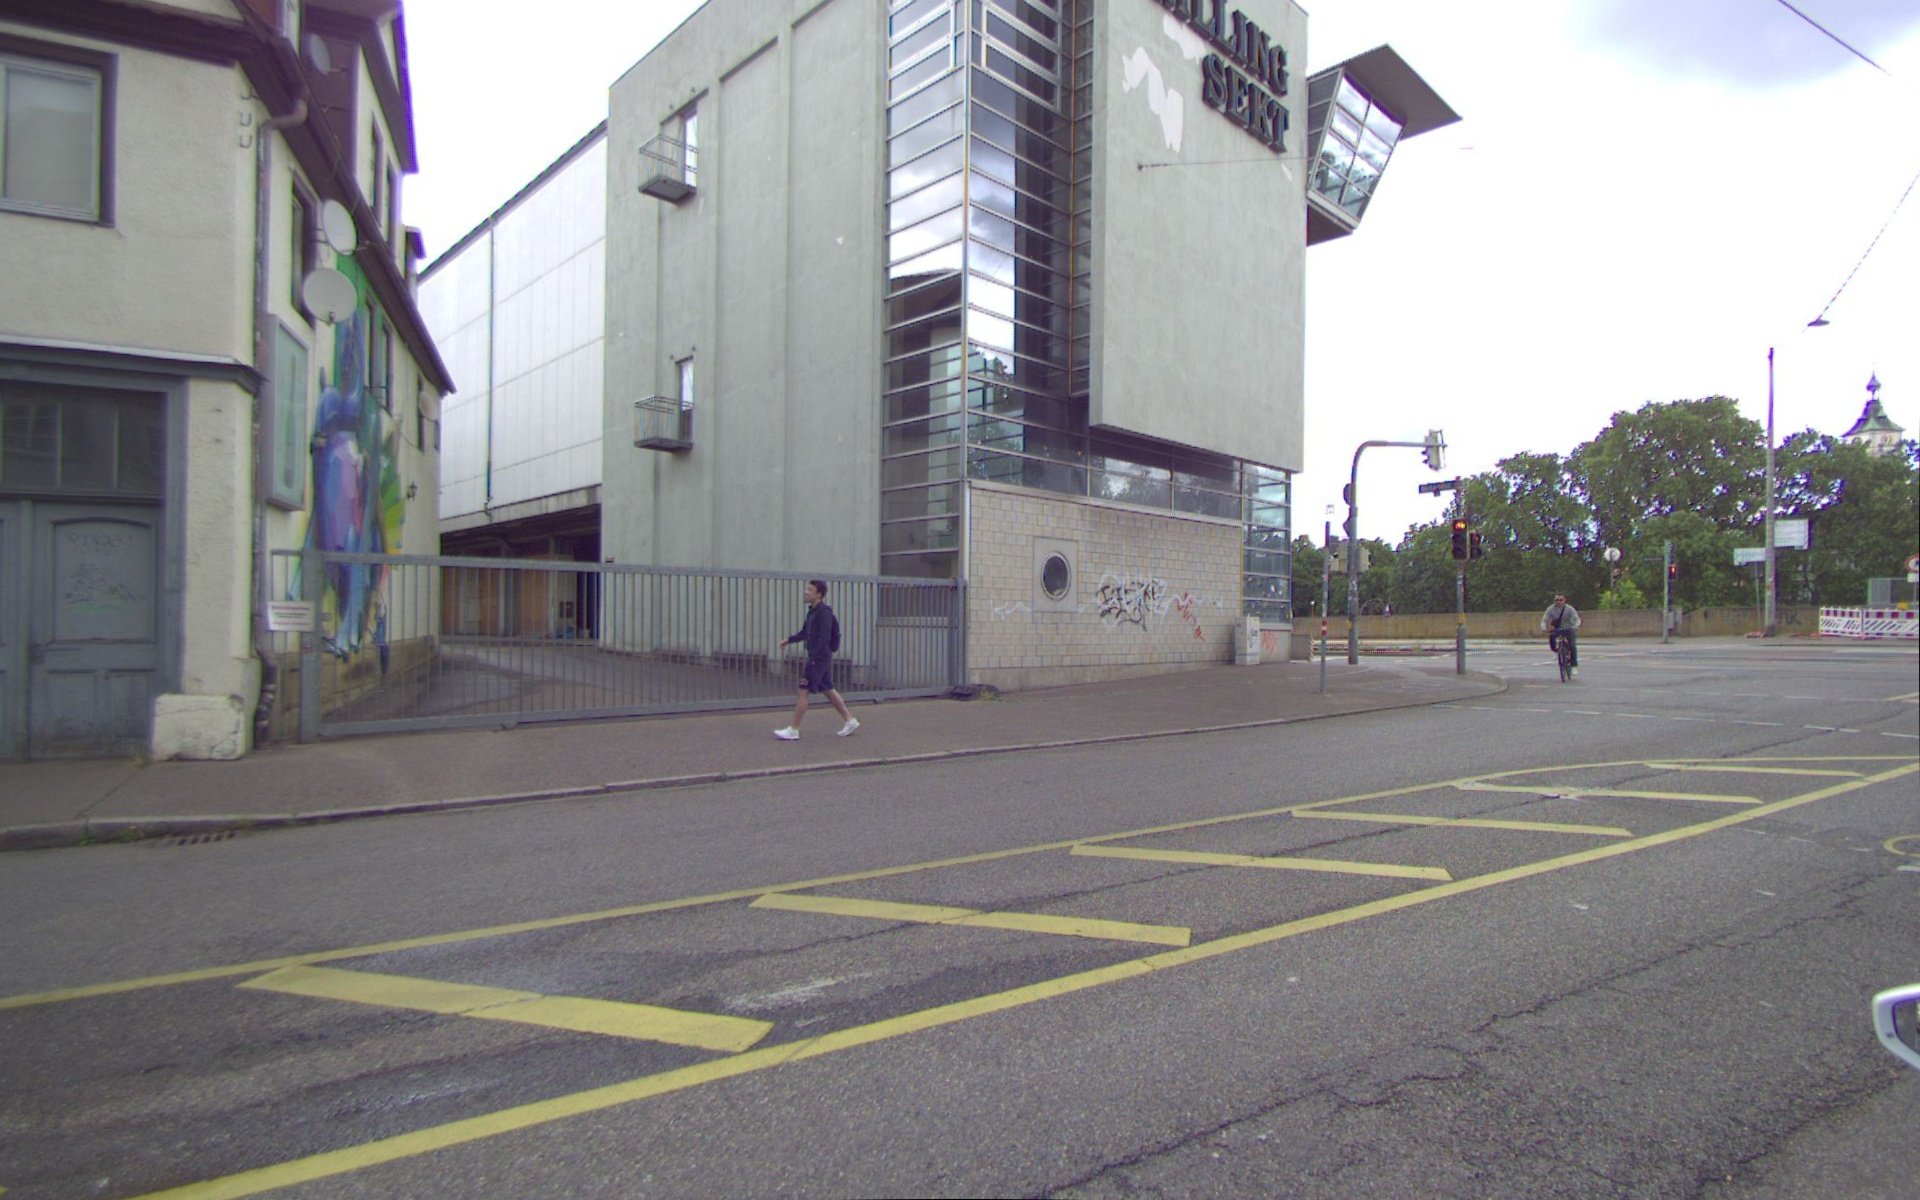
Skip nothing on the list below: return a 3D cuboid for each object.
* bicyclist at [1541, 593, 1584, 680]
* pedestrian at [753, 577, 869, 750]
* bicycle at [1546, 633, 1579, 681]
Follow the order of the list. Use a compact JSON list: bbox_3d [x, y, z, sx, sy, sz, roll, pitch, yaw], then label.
[{"bbox_3d":[12.217,0.732,20.370,0.713,1.723,0.808,0,-1,34],"label":"bicyclist"},{"bbox_3d":[-1.768,0.697,11.852,1.077,1.911,1.050,-1,1,-27],"label":"pedestrian"},{"bbox_3d":[12.364,1.152,20.604,0.533,0.904,1.875,0,-1,32],"label":"bicycle"}]
